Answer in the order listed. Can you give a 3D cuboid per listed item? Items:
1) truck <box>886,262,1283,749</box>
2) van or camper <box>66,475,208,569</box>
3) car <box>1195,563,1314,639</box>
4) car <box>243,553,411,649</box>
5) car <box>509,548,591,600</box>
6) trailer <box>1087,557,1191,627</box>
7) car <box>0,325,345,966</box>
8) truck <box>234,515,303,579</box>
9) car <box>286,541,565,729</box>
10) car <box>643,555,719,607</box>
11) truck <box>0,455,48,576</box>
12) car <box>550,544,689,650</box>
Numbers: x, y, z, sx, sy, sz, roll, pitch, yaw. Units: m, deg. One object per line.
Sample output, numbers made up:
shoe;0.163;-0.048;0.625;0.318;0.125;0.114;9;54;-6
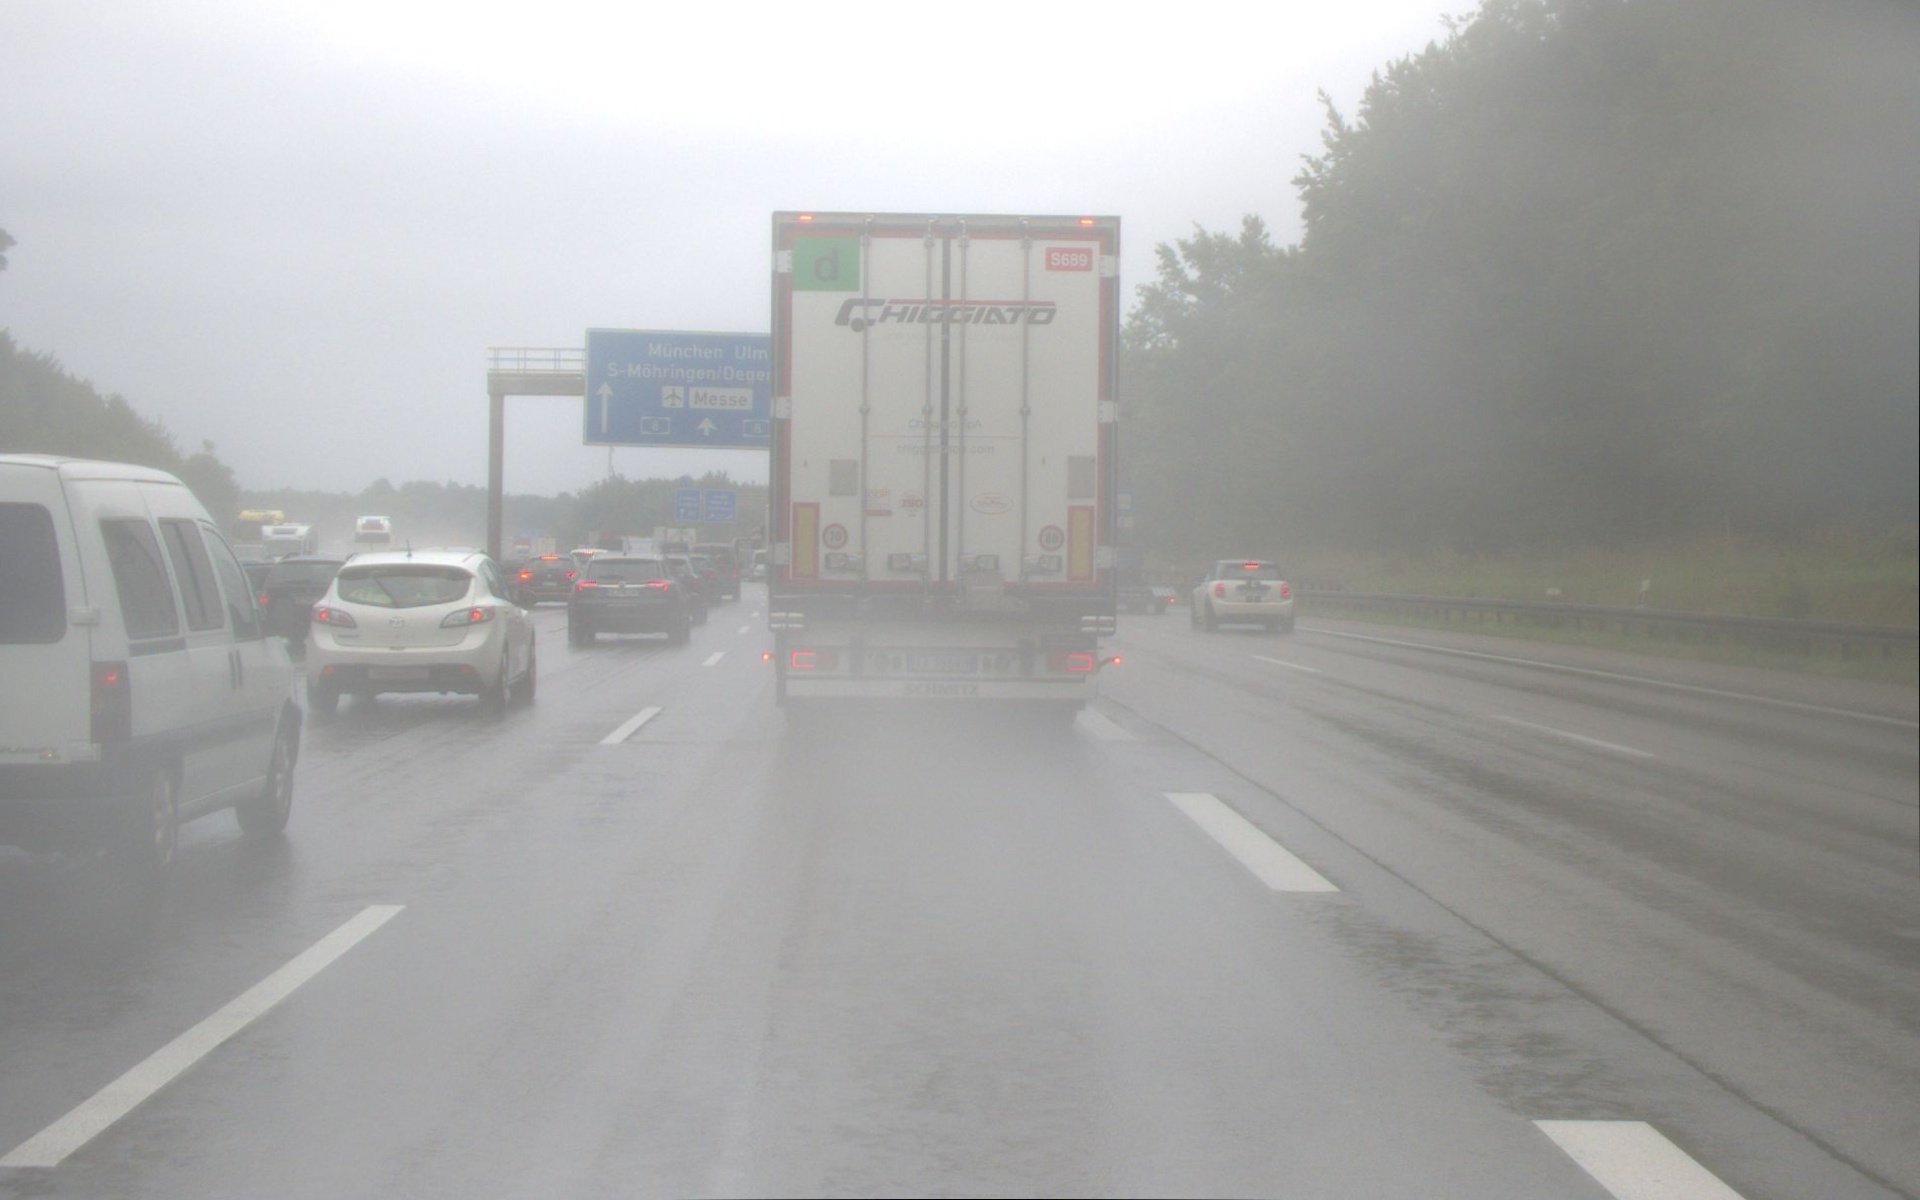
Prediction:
truck;0.974;-0.757;30.937;2.872;3.550;11.302;1;1;1
van or camper;-27.242;-2.561;114.145;2.842;2.968;8.787;1;1;-2
car;5.784;-0.006;67.955;1.790;1.402;4.228;1;1;-2
car;-9.523;-0.010;52.010;1.845;1.326;4.467;1;1;-2
car;-11.198;-0.728;94.197;1.845;1.326;4.467;1;1;-2
trailer;4.643;-0.240;90.022;2.243;1.709;5.083;1;1;-2
car;-4.501;0.115;16.294;2.213;2.564;5.016;1;1;1
truck;-39.010;-3.001;194.266;2.519;3.471;11.722;1;1;-5
car;-4.894;0.269;31.994;1.845;1.586;4.072;1;1;2
car;-7.519;-0.534;92.987;1.845;1.326;4.467;1;1;-2
truck;-31.472;-2.719;110.771;2.704;3.805;6.265;0;1;-2
car;-5.463;-0.080;55.631;1.845;1.586;4.467;1;1;-1
